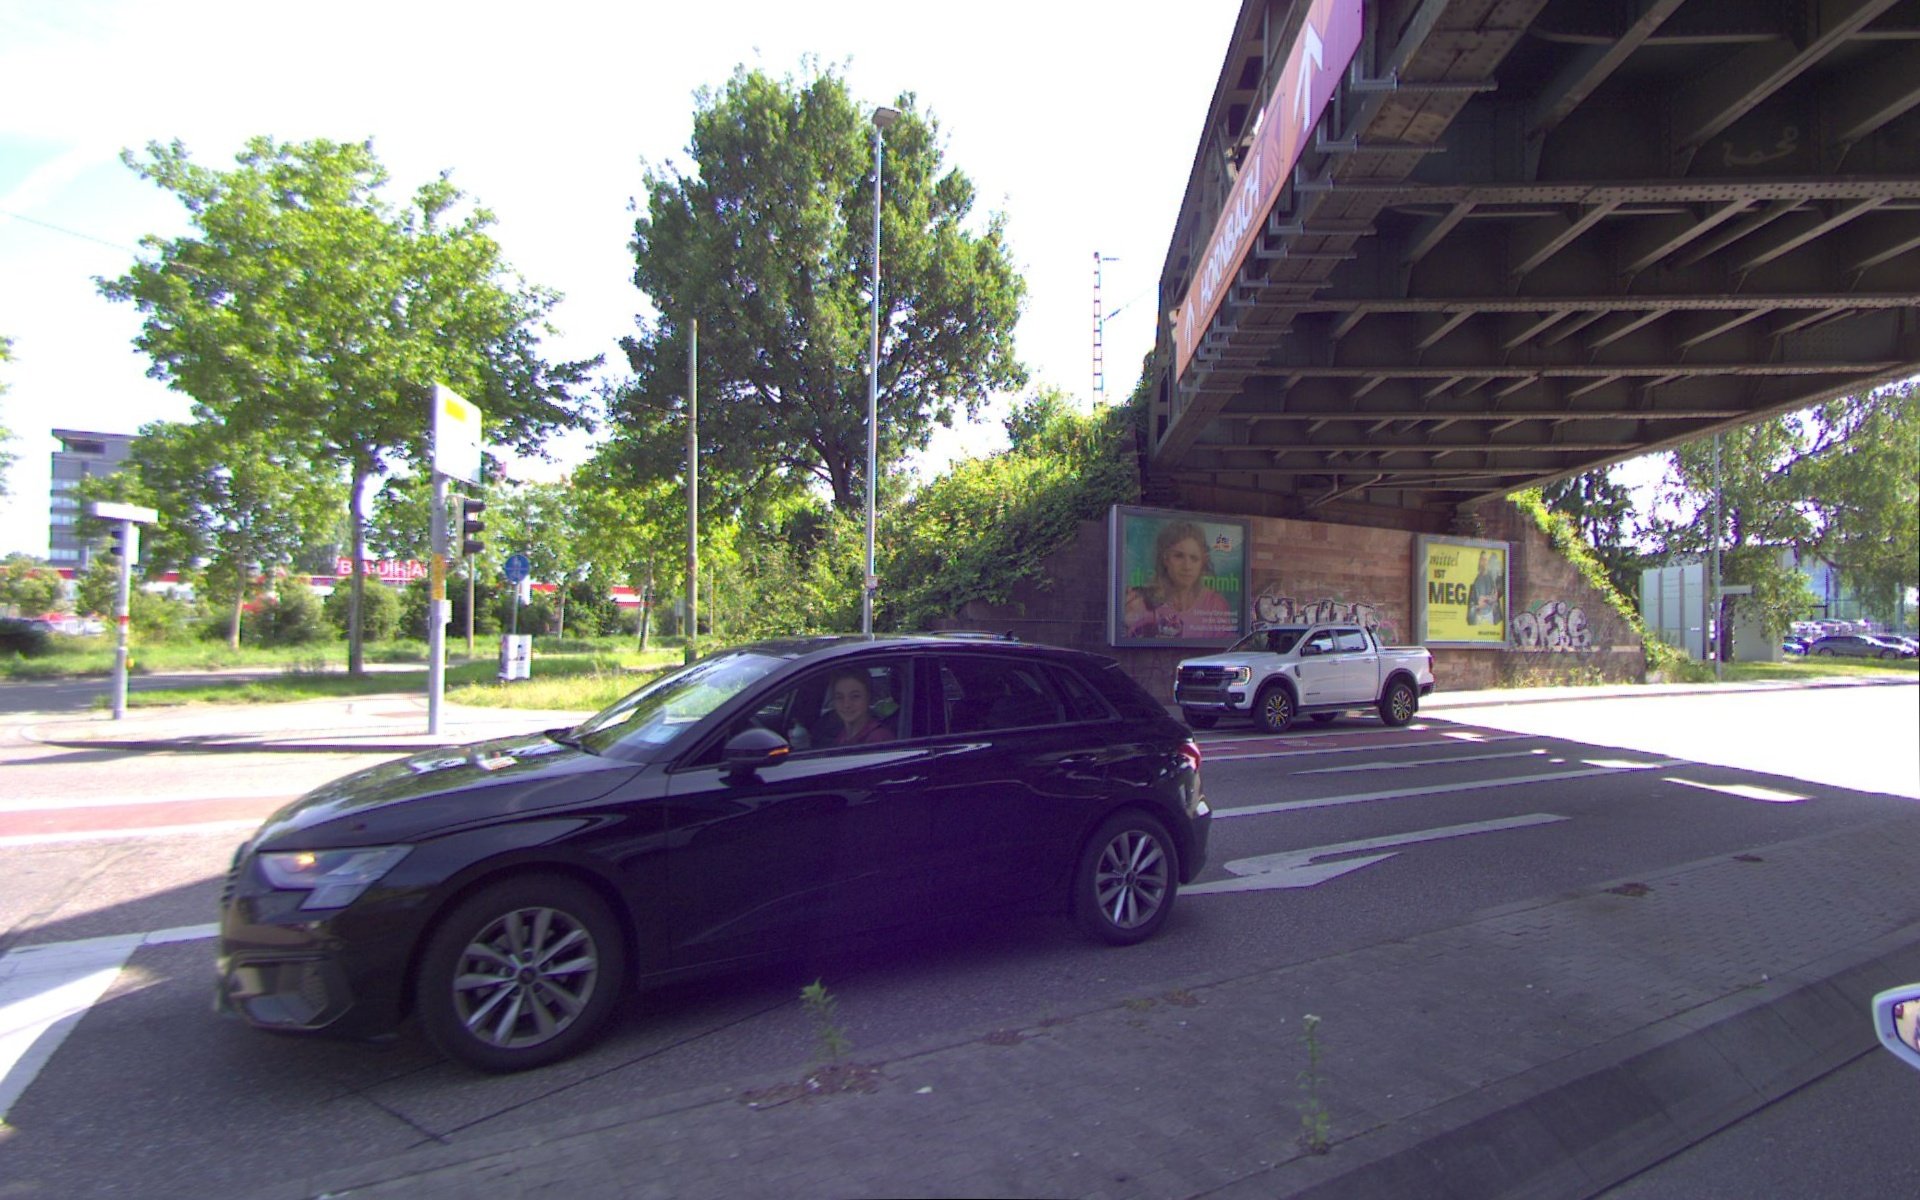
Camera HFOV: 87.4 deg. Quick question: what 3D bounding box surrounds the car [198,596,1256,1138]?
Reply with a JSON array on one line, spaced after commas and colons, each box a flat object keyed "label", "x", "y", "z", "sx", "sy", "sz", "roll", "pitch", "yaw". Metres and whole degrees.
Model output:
[{"label": "car", "x": -0.757, "y": 0.819, "z": 4.564, "sx": 4.073, "sy": 1.466, "sz": 1.772, "roll": 2, "pitch": -3, "yaw": -31}]

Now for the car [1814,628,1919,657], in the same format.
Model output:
[{"label": "car", "x": 52.797, "y": 2.429, "z": 58.168, "sx": 1.977, "sy": 1.408, "sz": 4.663, "roll": 2, "pitch": 0, "yaw": -31}]

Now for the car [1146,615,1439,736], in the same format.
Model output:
[{"label": "car", "x": 6.015, "y": 1.304, "z": 17.933, "sx": 5.390, "sy": 1.885, "sz": 1.984, "roll": 2, "pitch": -4, "yaw": -32}]

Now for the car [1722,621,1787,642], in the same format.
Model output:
[{"label": "car", "x": 69.865, "y": 2.756, "z": 88.403, "sx": 1.647, "sy": 1.728, "sz": 4.245, "roll": 2, "pitch": -2, "yaw": -32}]

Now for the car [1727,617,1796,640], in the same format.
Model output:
[{"label": "car", "x": 71.487, "y": 2.568, "z": 89.684, "sx": 1.958, "sy": 1.988, "sz": 4.475, "roll": 2, "pitch": -2, "yaw": -32}]

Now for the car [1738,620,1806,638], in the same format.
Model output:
[{"label": "car", "x": 73.630, "y": 2.631, "z": 91.144, "sx": 1.958, "sy": 1.571, "sz": 4.475, "roll": 2, "pitch": -2, "yaw": -32}]

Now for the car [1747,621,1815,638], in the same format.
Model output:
[{"label": "car", "x": 75.462, "y": 2.707, "z": 92.334, "sx": 1.958, "sy": 1.504, "sz": 4.475, "roll": 2, "pitch": -2, "yaw": -32}]

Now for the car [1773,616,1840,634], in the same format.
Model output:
[{"label": "car", "x": 80.181, "y": 2.384, "z": 95.172, "sx": 1.963, "sy": 1.515, "sz": 4.496, "roll": 2, "pitch": 0, "yaw": -31}]

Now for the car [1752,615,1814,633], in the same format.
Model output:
[{"label": "car", "x": 75.461, "y": 2.226, "z": 92.151, "sx": 2.028, "sy": 1.515, "sz": 3.967, "roll": 2, "pitch": 0, "yaw": -31}]

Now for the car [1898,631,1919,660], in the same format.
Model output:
[{"label": "car", "x": 65.724, "y": 3.106, "z": 66.832, "sx": 1.976, "sy": 1.900, "sz": 4.443, "roll": 2, "pitch": 0, "yaw": -29}]

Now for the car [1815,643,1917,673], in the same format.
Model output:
[{"label": "car", "x": 54.931, "y": 3.480, "z": 60.959, "sx": 1.977, "sy": 1.567, "sz": 4.192, "roll": 2, "pitch": 0, "yaw": -31}]

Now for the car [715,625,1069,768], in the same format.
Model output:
[{"label": "car", "x": -0.839, "y": 1.177, "z": 13.367, "sx": 4.338, "sy": 1.617, "sz": 1.863, "roll": 2, "pitch": -2, "yaw": -32}]
